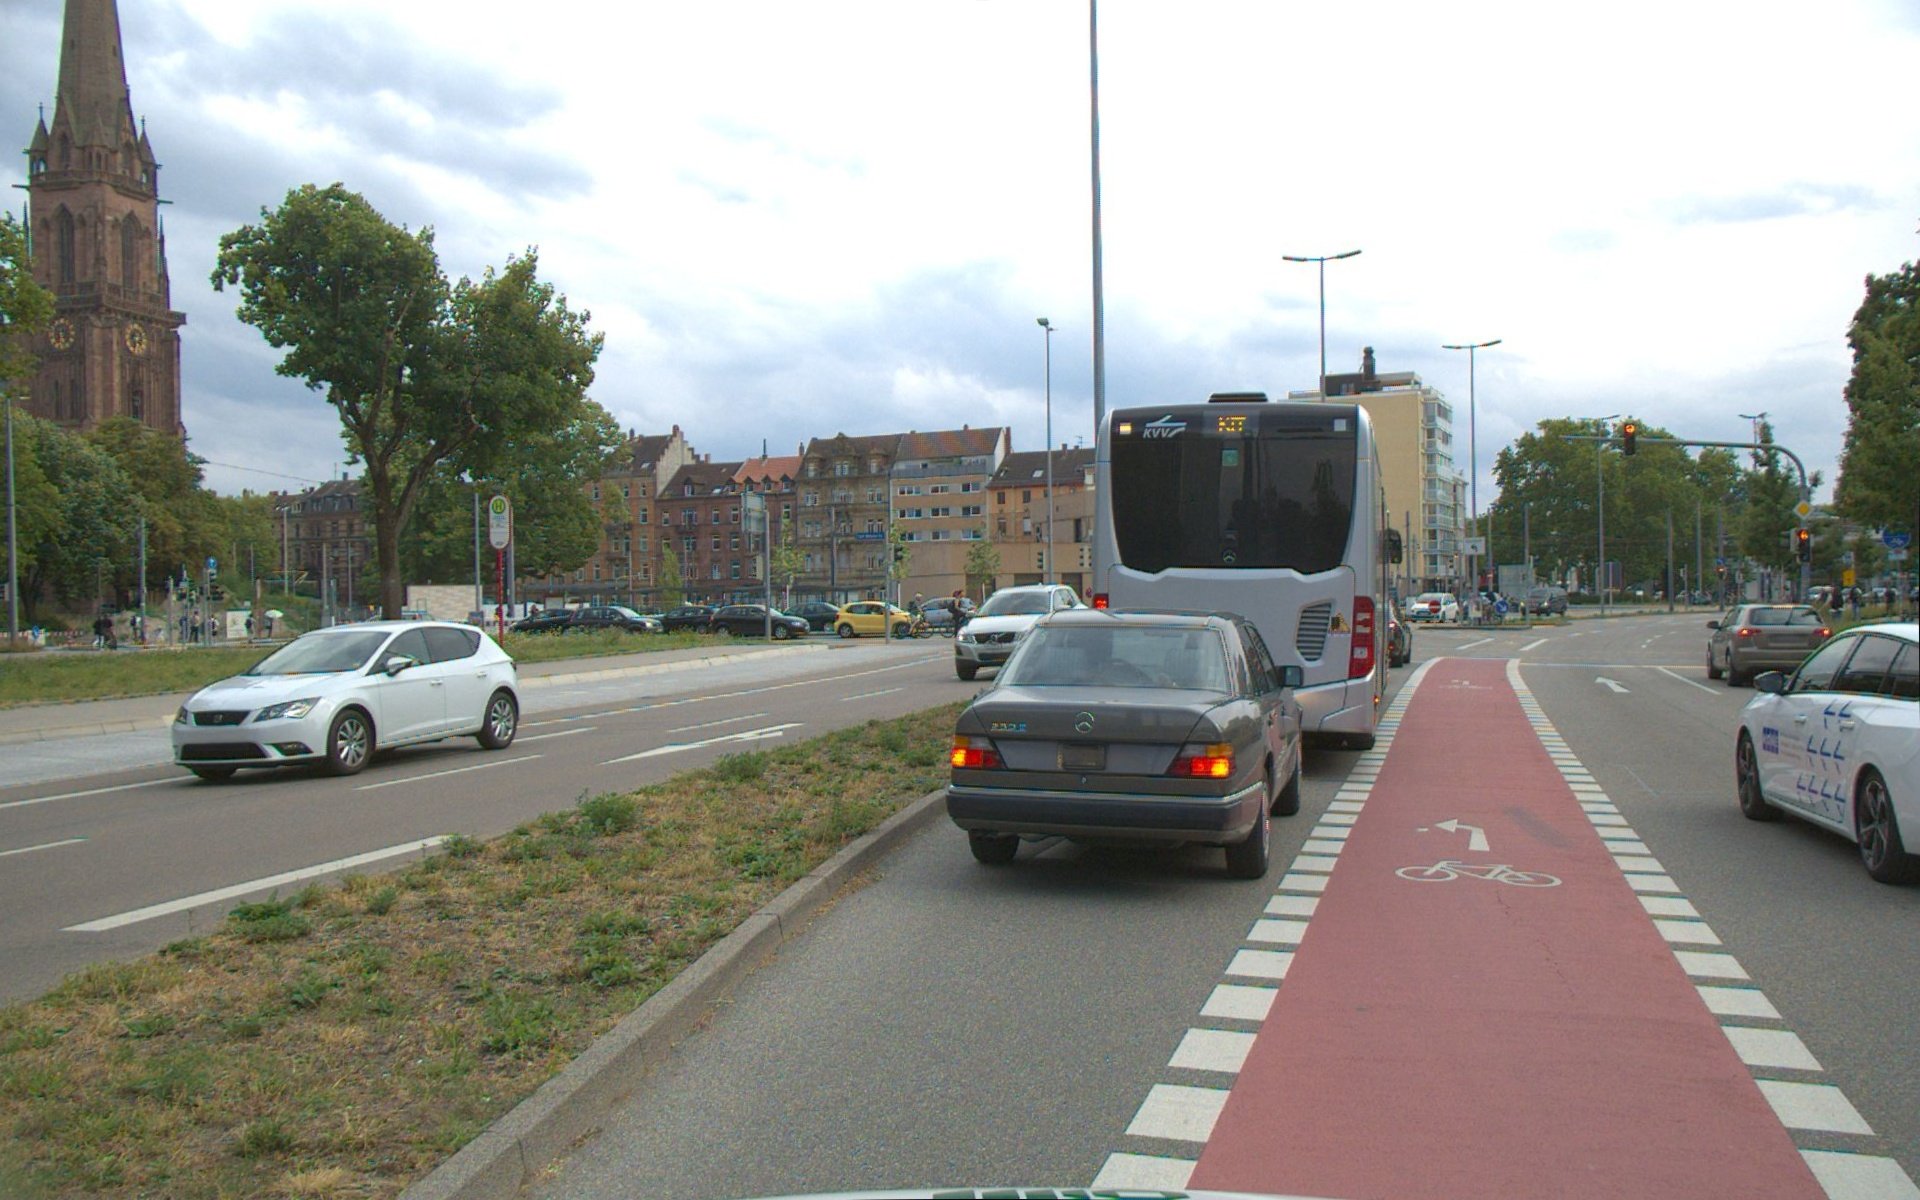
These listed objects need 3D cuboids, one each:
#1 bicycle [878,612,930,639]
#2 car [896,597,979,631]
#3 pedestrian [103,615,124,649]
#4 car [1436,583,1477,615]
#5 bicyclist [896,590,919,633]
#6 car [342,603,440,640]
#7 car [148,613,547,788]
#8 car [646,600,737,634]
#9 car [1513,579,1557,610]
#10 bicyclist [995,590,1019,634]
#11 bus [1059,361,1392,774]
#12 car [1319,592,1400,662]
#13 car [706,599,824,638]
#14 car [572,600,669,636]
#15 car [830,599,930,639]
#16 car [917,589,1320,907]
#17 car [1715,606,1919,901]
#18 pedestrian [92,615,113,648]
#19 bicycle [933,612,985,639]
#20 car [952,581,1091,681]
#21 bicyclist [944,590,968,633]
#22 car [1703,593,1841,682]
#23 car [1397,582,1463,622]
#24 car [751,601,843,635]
[{"bbox_3d":[-2.186,1.004,65.035,1.922,0.999,0.631,-1,0,12],"label":"bicycle"},{"bbox_3d":[-0.988,0.594,72.065,3.598,1.419,1.584,0,0,-1],"label":"car"},{"bbox_3d":[-40.511,1.524,79.128,0.549,1.588,0.726,-1,0,10],"label":"pedestrian"},{"bbox_3d":[30.785,-0.075,102.486,1.771,1.883,3.996,-1,0,26],"label":"car"},{"bbox_3d":[-2.061,0.455,64.999,0.769,1.672,0.573,-1,0,12],"label":"bicyclist"},{"bbox_3d":[-26.918,1.017,78.315,4.065,1.678,1.648,-1,0,11],"label":"car"},{"bbox_3d":[-6.179,0.954,17.256,1.661,1.468,4.178,-4,-1,17],"label":"car"},{"bbox_3d":[-11.974,0.749,73.814,3.683,1.419,1.586,1,0,12],"label":"car"},{"bbox_3d":[39.221,-0.388,112.714,1.958,2.049,3.990,-1,0,32],"label":"car"},{"bbox_3d":[1.810,0.448,63.465,0.769,1.672,0.614,-1,0,14],"label":"bicyclist"},{"bbox_3d":[3.273,-0.291,18.135,2.771,3.449,8.189,-1,0,15],"label":"bus"},{"bbox_3d":[8.793,0.561,36.393,1.620,1.421,3.863,-1,0,14],"label":"car"},{"bbox_3d":[-8.052,0.755,68.387,4.569,1.501,1.662,1,0,12],"label":"car"},{"bbox_3d":[-14.356,0.748,69.902,3.683,1.419,1.586,1,0,12],"label":"car"},{"bbox_3d":[-3.269,0.760,67.733,3.774,1.544,1.662,0,0,12],"label":"car"},{"bbox_3d":[1.190,0.711,10.190,1.724,1.515,4.174,-1,0,16],"label":"car"},{"bbox_3d":[6.208,0.805,10.305,1.702,1.464,4.787,-1,0,12],"label":"car"},{"bbox_3d":[-41.340,1.519,79.754,0.549,1.588,0.726,-1,0,10],"label":"pedestrian"},{"bbox_3d":[-0.044,0.986,64.329,1.922,0.999,0.631,-1,0,15],"label":"bicycle"},{"bbox_3d":[1.261,0.544,31.772,1.743,1.760,4.376,-2,0,14],"label":"car"},{"bbox_3d":[-0.171,0.437,64.353,0.770,1.672,0.573,-1,0,16],"label":"bicyclist"},{"bbox_3d":[14.670,0.638,30.061,1.688,1.483,3.738,-1,0,18],"label":"car"},{"bbox_3d":[26.703,0.089,93.781,2.533,2.146,5.594,-1,0,27],"label":"car"},{"bbox_3d":[-7.178,0.773,72.938,3.683,1.419,1.586,1,0,12],"label":"car"}]
